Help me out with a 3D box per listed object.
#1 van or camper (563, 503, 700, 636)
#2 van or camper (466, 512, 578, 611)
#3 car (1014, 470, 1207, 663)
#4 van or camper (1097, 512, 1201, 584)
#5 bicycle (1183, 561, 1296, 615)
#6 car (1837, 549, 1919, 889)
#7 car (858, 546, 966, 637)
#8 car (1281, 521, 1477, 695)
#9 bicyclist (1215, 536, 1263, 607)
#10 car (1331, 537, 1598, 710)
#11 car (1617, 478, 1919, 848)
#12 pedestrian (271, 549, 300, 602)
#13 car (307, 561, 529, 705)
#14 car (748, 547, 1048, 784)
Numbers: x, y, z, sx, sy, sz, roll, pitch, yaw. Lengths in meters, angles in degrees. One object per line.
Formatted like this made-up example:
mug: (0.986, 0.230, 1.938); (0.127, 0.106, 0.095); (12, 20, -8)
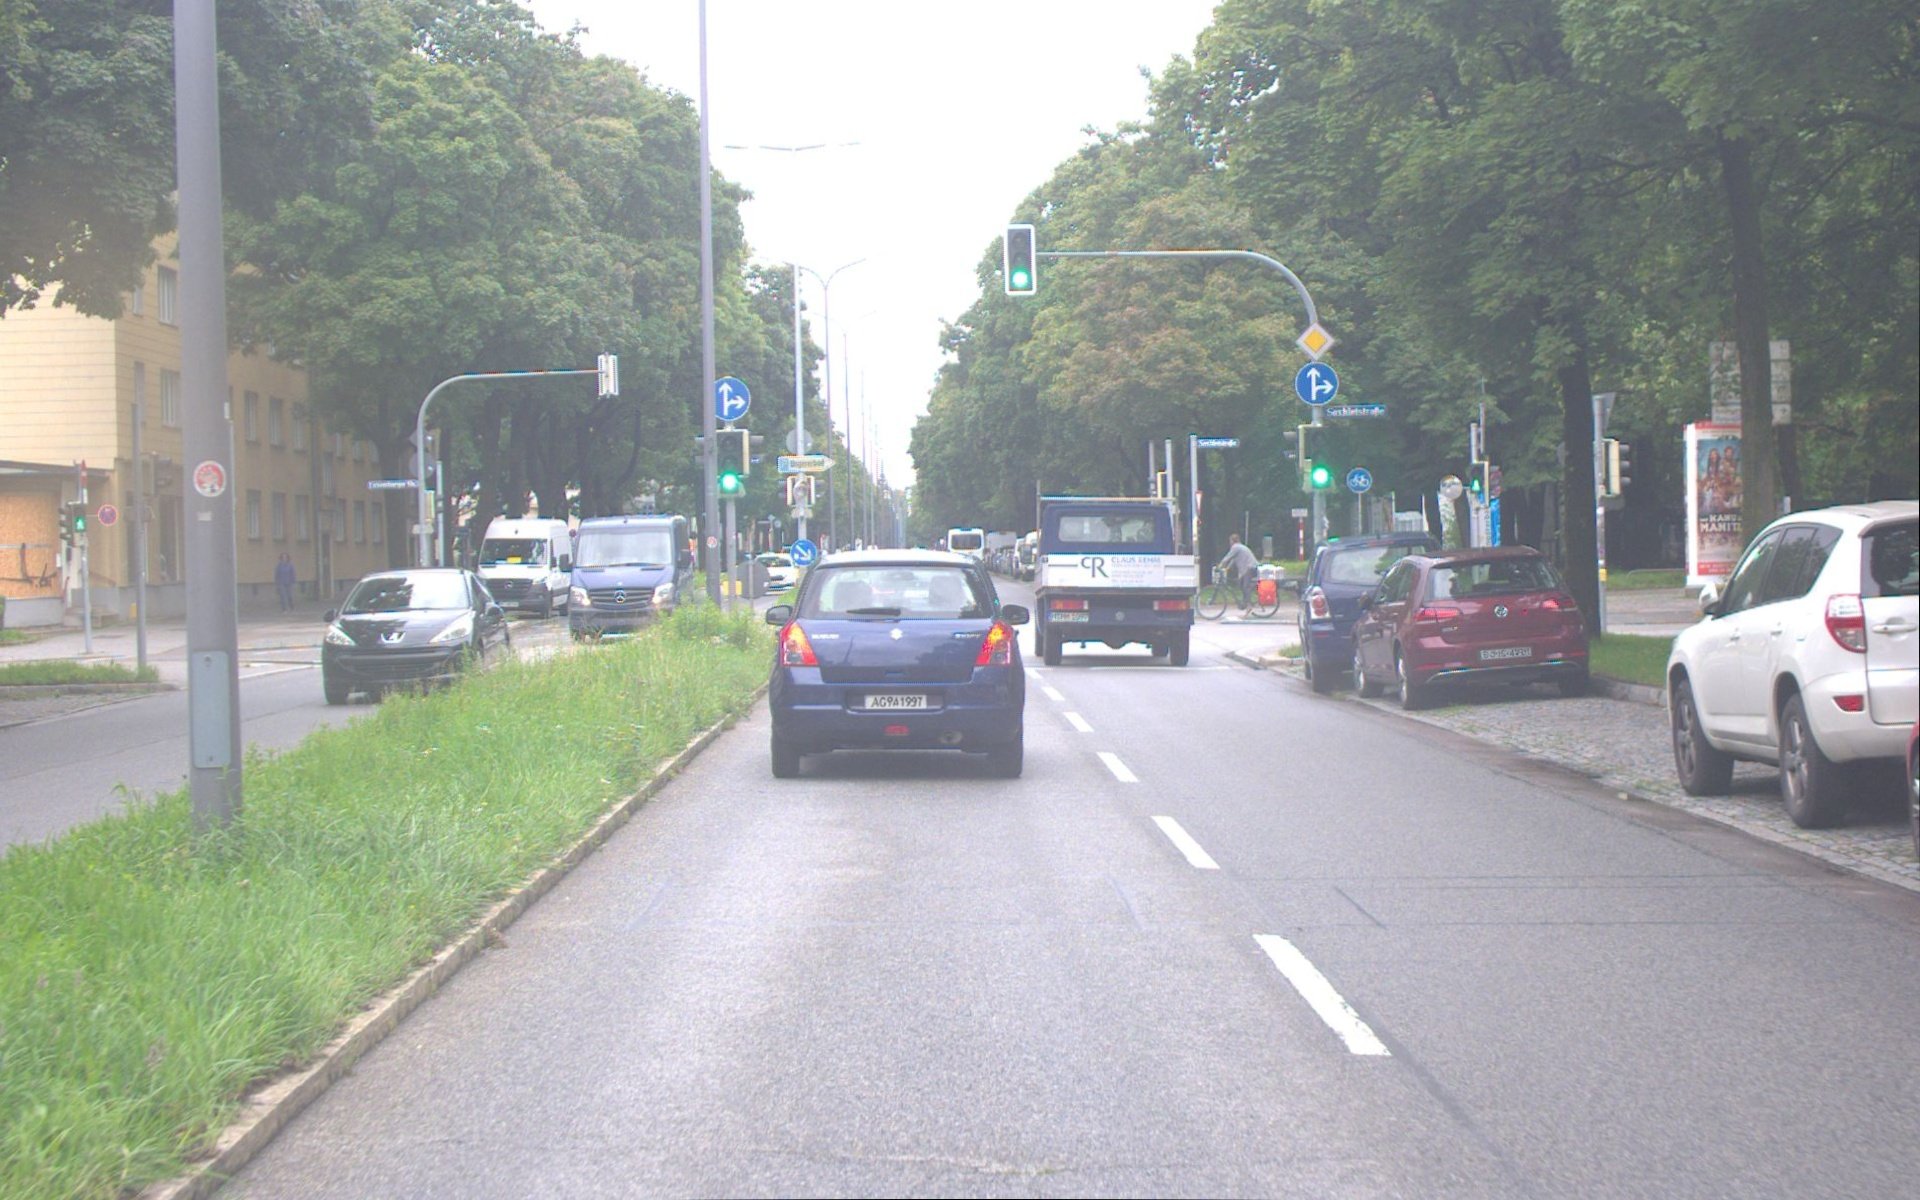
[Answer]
van or camper: (-5.967, -0.586, 63.145); (2.023, 2.253, 6.022); (-2, 1, -2)
van or camper: (-11.606, -1.053, 91.400); (2.140, 2.467, 6.259); (-2, 1, 0)
car: (1.928, -0.466, 45.793); (2.419, 2.436, 5.086); (0, 1, 1)
van or camper: (4.820, -1.337, 88.119); (2.125, 1.787, 4.508); (0, 1, -4)
bicycle: (5.836, -0.247, 71.820); (2.297, 1.110, 0.996); (0, 1, 1)
car: (5.155, 0.514, 14.438); (1.760, 1.501, 4.144); (-3, 1, -1)
car: (-0.817, -0.179, 59.864); (1.799, 1.494, 3.660); (-1, 1, 0)
car: (4.591, 0.037, 38.203); (1.763, 1.652, 4.283); (-5, 1, 4)
bicyclist: (5.822, -0.606, 71.814); (0.930, 1.474, 0.990); (0, 1, 1)
car: (4.828, 0.176, 33.431); (1.712, 1.419, 4.284); (-5, 1, -2)
car: (5.113, 0.243, 19.485); (1.760, 1.824, 4.528); (-3, 1, -1)
pedestrian: (-18.613, -0.680, 94.851); (0.629, 1.435, 0.806); (1, 0, 0)
car: (-5.976, 0.323, 38.340); (1.737, 1.437, 4.103); (-2, 1, 1)
car: (-0.507, 0.394, 23.795); (1.896, 1.494, 3.661); (0, 1, -4)
